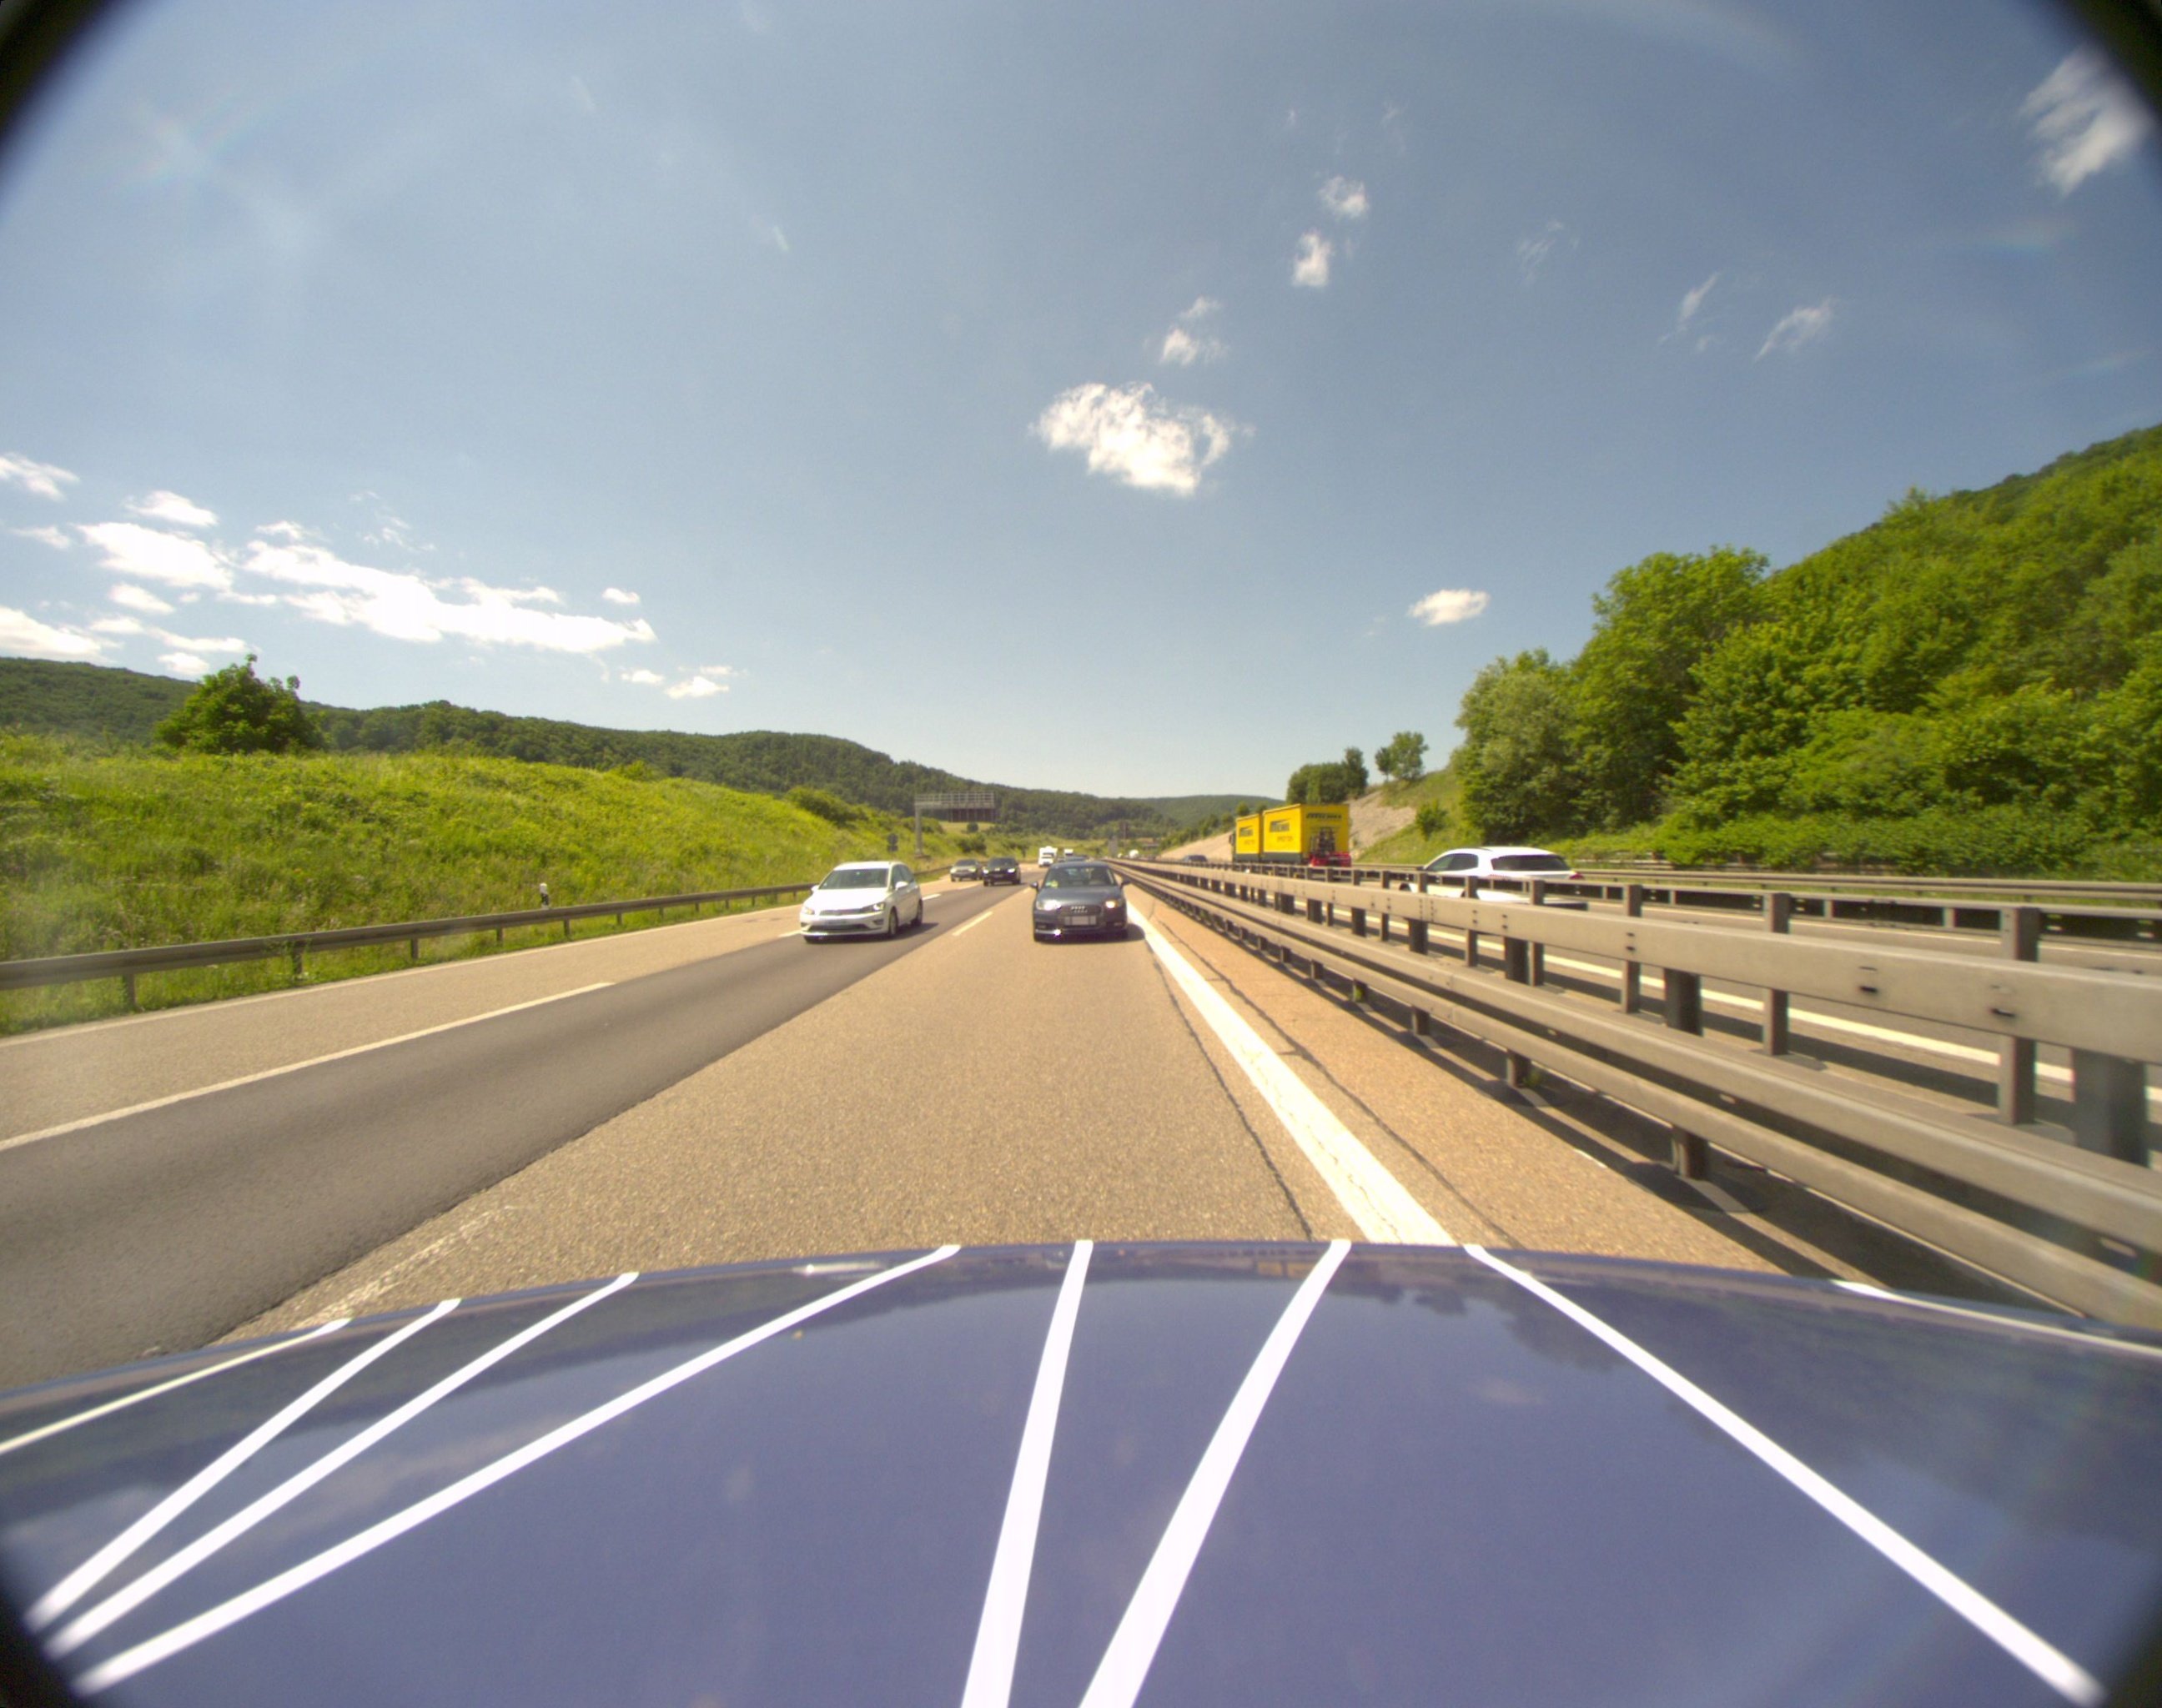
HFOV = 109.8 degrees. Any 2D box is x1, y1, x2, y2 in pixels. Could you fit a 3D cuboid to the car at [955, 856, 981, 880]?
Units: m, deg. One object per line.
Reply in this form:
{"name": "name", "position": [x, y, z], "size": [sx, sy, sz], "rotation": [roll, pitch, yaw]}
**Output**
{"name": "car", "position": [-8.300, 0.989, 56.099], "size": [1.684, 1.585, 4.246], "rotation": [-2, 0, -6]}

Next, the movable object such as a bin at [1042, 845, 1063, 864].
{"name": "movable object such as a bin", "position": [-4.023, 0.044, 106.682], "size": [2.481, 2.616, 6.708], "rotation": [-2, 0, 1]}

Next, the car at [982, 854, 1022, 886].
{"name": "car", "position": [-4.481, 0.879, 43.850], "size": [1.893, 1.761, 4.171], "rotation": [-1, 0, -1]}

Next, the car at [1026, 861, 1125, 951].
{"name": "car", "position": [0.016, 0.897, 14.782], "size": [1.591, 1.402, 4.001], "rotation": [-2, 0, 4]}

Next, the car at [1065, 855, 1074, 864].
{"name": "car", "position": [-2.701, 1.319, 180.103], "size": [1.998, 2.002, 4.000], "rotation": [-1, 1, 2]}

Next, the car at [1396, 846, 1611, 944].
{"name": "car", "position": [7.562, 0.644, 14.096], "size": [1.751, 1.510, 4.000], "rotation": [-2, 0, 1]}

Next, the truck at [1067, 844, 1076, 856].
{"name": "truck", "position": [-2.893, -1.254, 235.852], "size": [2.336, 3.623, 7.005], "rotation": [-2, 0, 1]}

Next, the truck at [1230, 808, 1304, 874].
{"name": "truck", "position": [12.678, -0.840, 52.774], "size": [2.834, 4.123, 9.614], "rotation": [-2, 0, 1]}

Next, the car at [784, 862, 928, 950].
{"name": "car", "position": [-4.626, 0.993, 16.256], "size": [1.777, 1.532, 4.054], "rotation": [-2, 0, 0]}

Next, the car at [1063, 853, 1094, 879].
{"name": "car", "position": [-0.120, 0.736, 49.734], "size": [1.835, 1.586, 4.000], "rotation": [-1, 0, 2]}

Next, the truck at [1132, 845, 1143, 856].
{"name": "truck", "position": [17.146, -1.050, 231.825], "size": [2.617, 3.035, 10.990], "rotation": [-2, 0, 2]}

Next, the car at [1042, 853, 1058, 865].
{"name": "car", "position": [-3.996, 0.620, 99.588], "size": [1.821, 1.574, 4.000], "rotation": [-1, 0, 1]}

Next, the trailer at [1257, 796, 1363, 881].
{"name": "trailer", "position": [12.536, -0.789, 42.793], "size": [2.834, 4.123, 10.404], "rotation": [-2, 0, 1]}

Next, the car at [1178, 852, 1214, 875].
{"name": "car", "position": [8.323, 0.640, 55.477], "size": [1.850, 1.586, 4.751], "rotation": [-1, 0, -1]}

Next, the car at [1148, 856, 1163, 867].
{"name": "car", "position": [10.241, 1.001, 104.807], "size": [1.672, 1.426, 3.999], "rotation": [-2, 0, 0]}

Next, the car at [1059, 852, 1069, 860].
{"name": "car", "position": [-3.419, 0.400, 152.906], "size": [1.711, 1.542, 4.000], "rotation": [-1, 0, 1]}
